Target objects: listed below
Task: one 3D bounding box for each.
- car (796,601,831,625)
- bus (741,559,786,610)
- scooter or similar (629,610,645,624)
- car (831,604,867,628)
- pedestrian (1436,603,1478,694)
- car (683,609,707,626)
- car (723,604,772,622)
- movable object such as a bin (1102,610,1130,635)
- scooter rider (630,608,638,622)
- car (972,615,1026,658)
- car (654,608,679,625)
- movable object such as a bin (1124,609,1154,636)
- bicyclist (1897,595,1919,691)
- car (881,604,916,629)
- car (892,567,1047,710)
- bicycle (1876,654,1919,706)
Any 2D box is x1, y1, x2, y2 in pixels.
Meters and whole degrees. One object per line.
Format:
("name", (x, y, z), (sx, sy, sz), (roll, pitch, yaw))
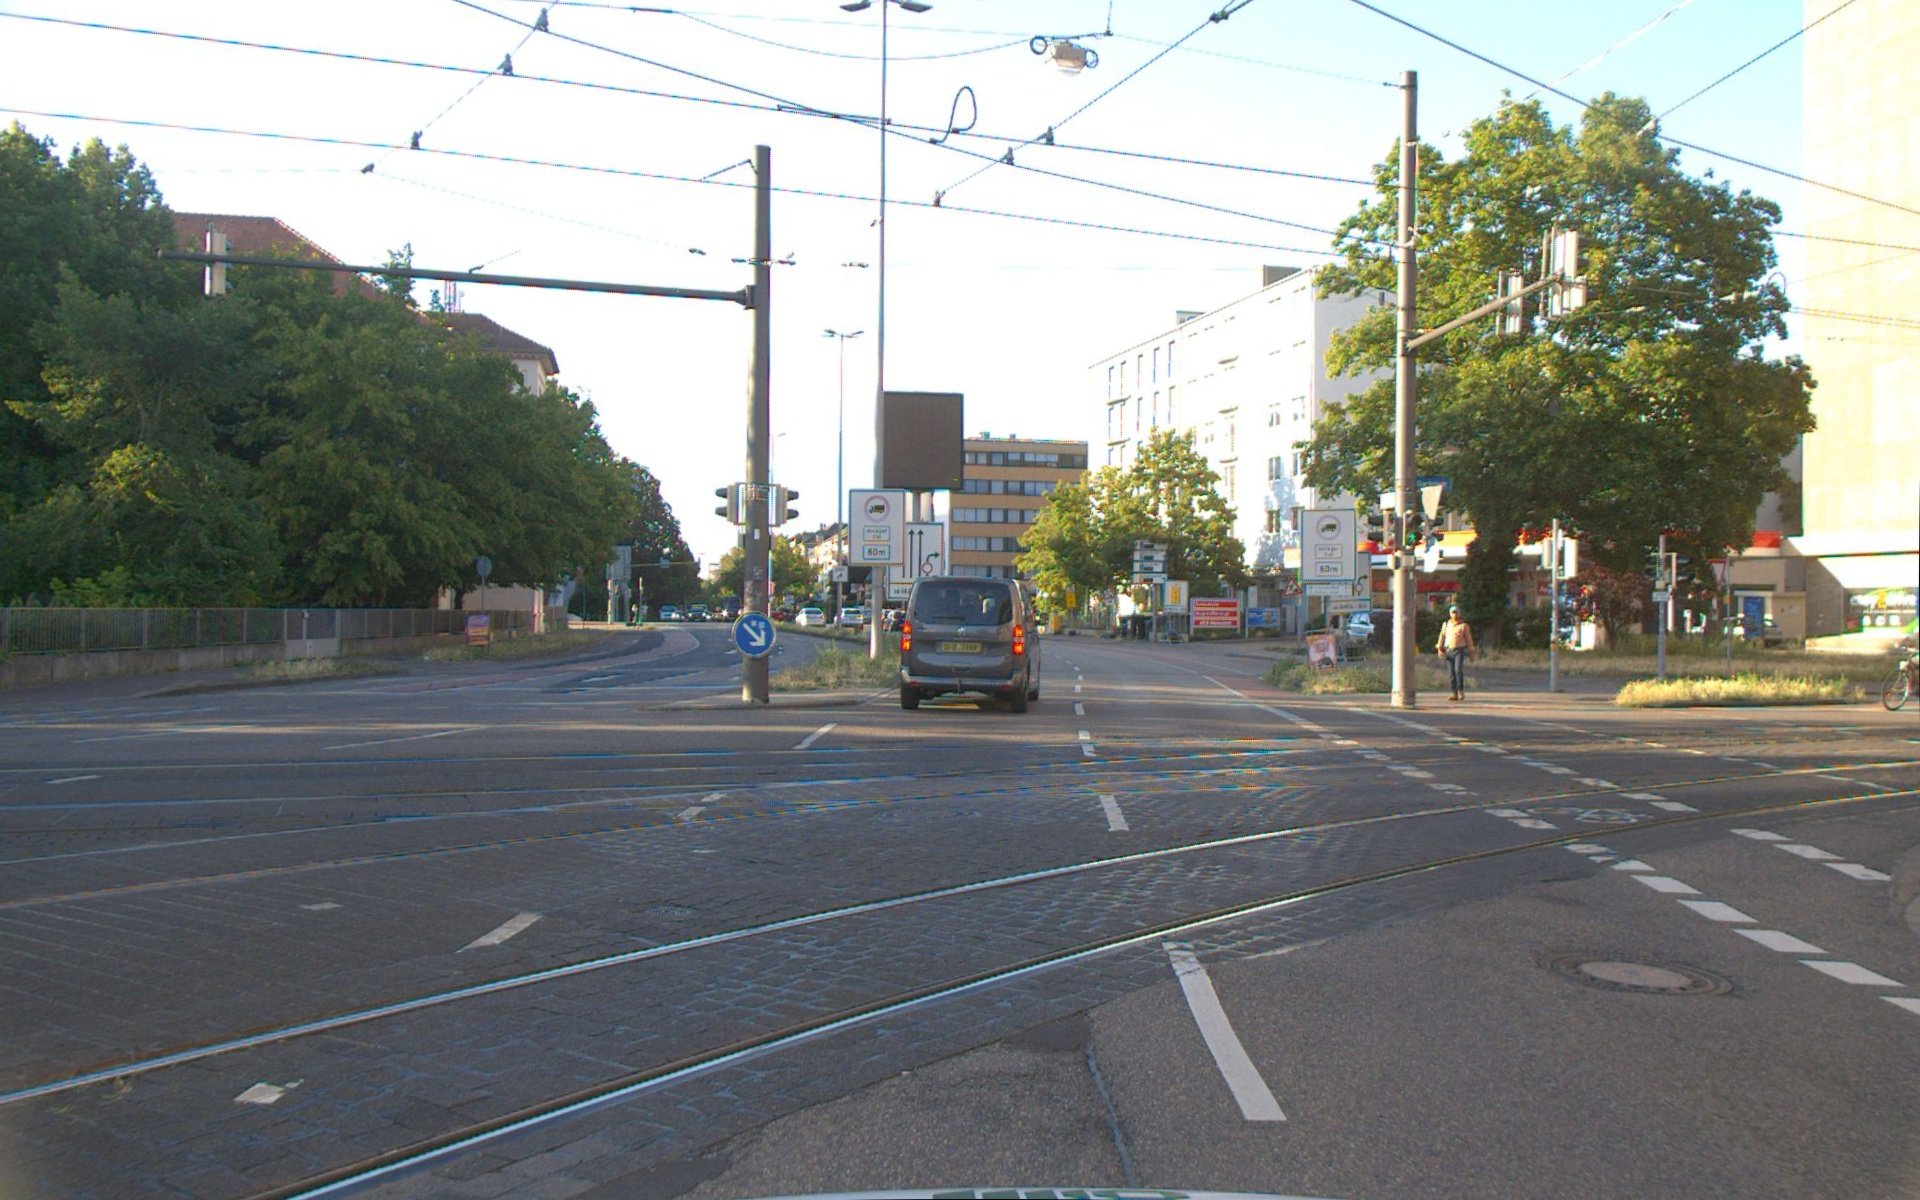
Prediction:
("car", (-10.487, 0.932, 118.312), (1.959, 1.685, 4.285), (0, 0, -13))
("bus", (-19.435, -1.450, 163.082), (3.233, 4.698, 9.966), (2, -1, -13))
("scooter or similar", (-24.157, 1.245, 123.824), (1.083, 0.994, 0.556), (2, -1, -20))
("car", (-8.043, 1.148, 119.558), (1.959, 1.685, 4.285), (0, 0, -13))
("pedestrian", (9.106, 0.880, 30.325), (0.541, 1.657, 0.699), (0, 0, -1))
("car", (-26.308, 1.743, 164.292), (1.954, 1.623, 3.997), (1, 0, -3))
("car", (-19.086, 1.166, 148.489), (3.941, 1.623, 1.982), (1, 0, -28))
("movable object such as a bin", (9.001, 1.286, 95.469), (1.433, 1.410, 1.546), (0, 0, -2))
("scooter rider", (-24.366, 1.125, 123.754), (0.502, 1.054, 0.443), (2, -1, -21))
("car", (1.474, 1.376, 64.027), (1.809, 1.571, 3.629), (1, 0, -3))
("car", (-29.001, 1.666, 163.597), (1.954, 1.623, 3.997), (1, 0, -3))
("movable object such as a bin", (9.975, 1.242, 92.142), (1.433, 1.479, 1.546), (0, 0, -2))
("bicyclist", (16.451, 0.727, 28.110), (0.683, 1.611, 0.634), (0, -1, -19))
("car", (-4.275, 1.159, 115.085), (1.956, 1.685, 4.290), (0, 0, -9))
("car", (0.239, 0.554, 25.053), (1.951, 1.934, 4.301), (1, -1, 5))
("bicycle", (16.499, 1.353, 28.112), (1.782, 0.843, 0.619), (0, -1, -20))
